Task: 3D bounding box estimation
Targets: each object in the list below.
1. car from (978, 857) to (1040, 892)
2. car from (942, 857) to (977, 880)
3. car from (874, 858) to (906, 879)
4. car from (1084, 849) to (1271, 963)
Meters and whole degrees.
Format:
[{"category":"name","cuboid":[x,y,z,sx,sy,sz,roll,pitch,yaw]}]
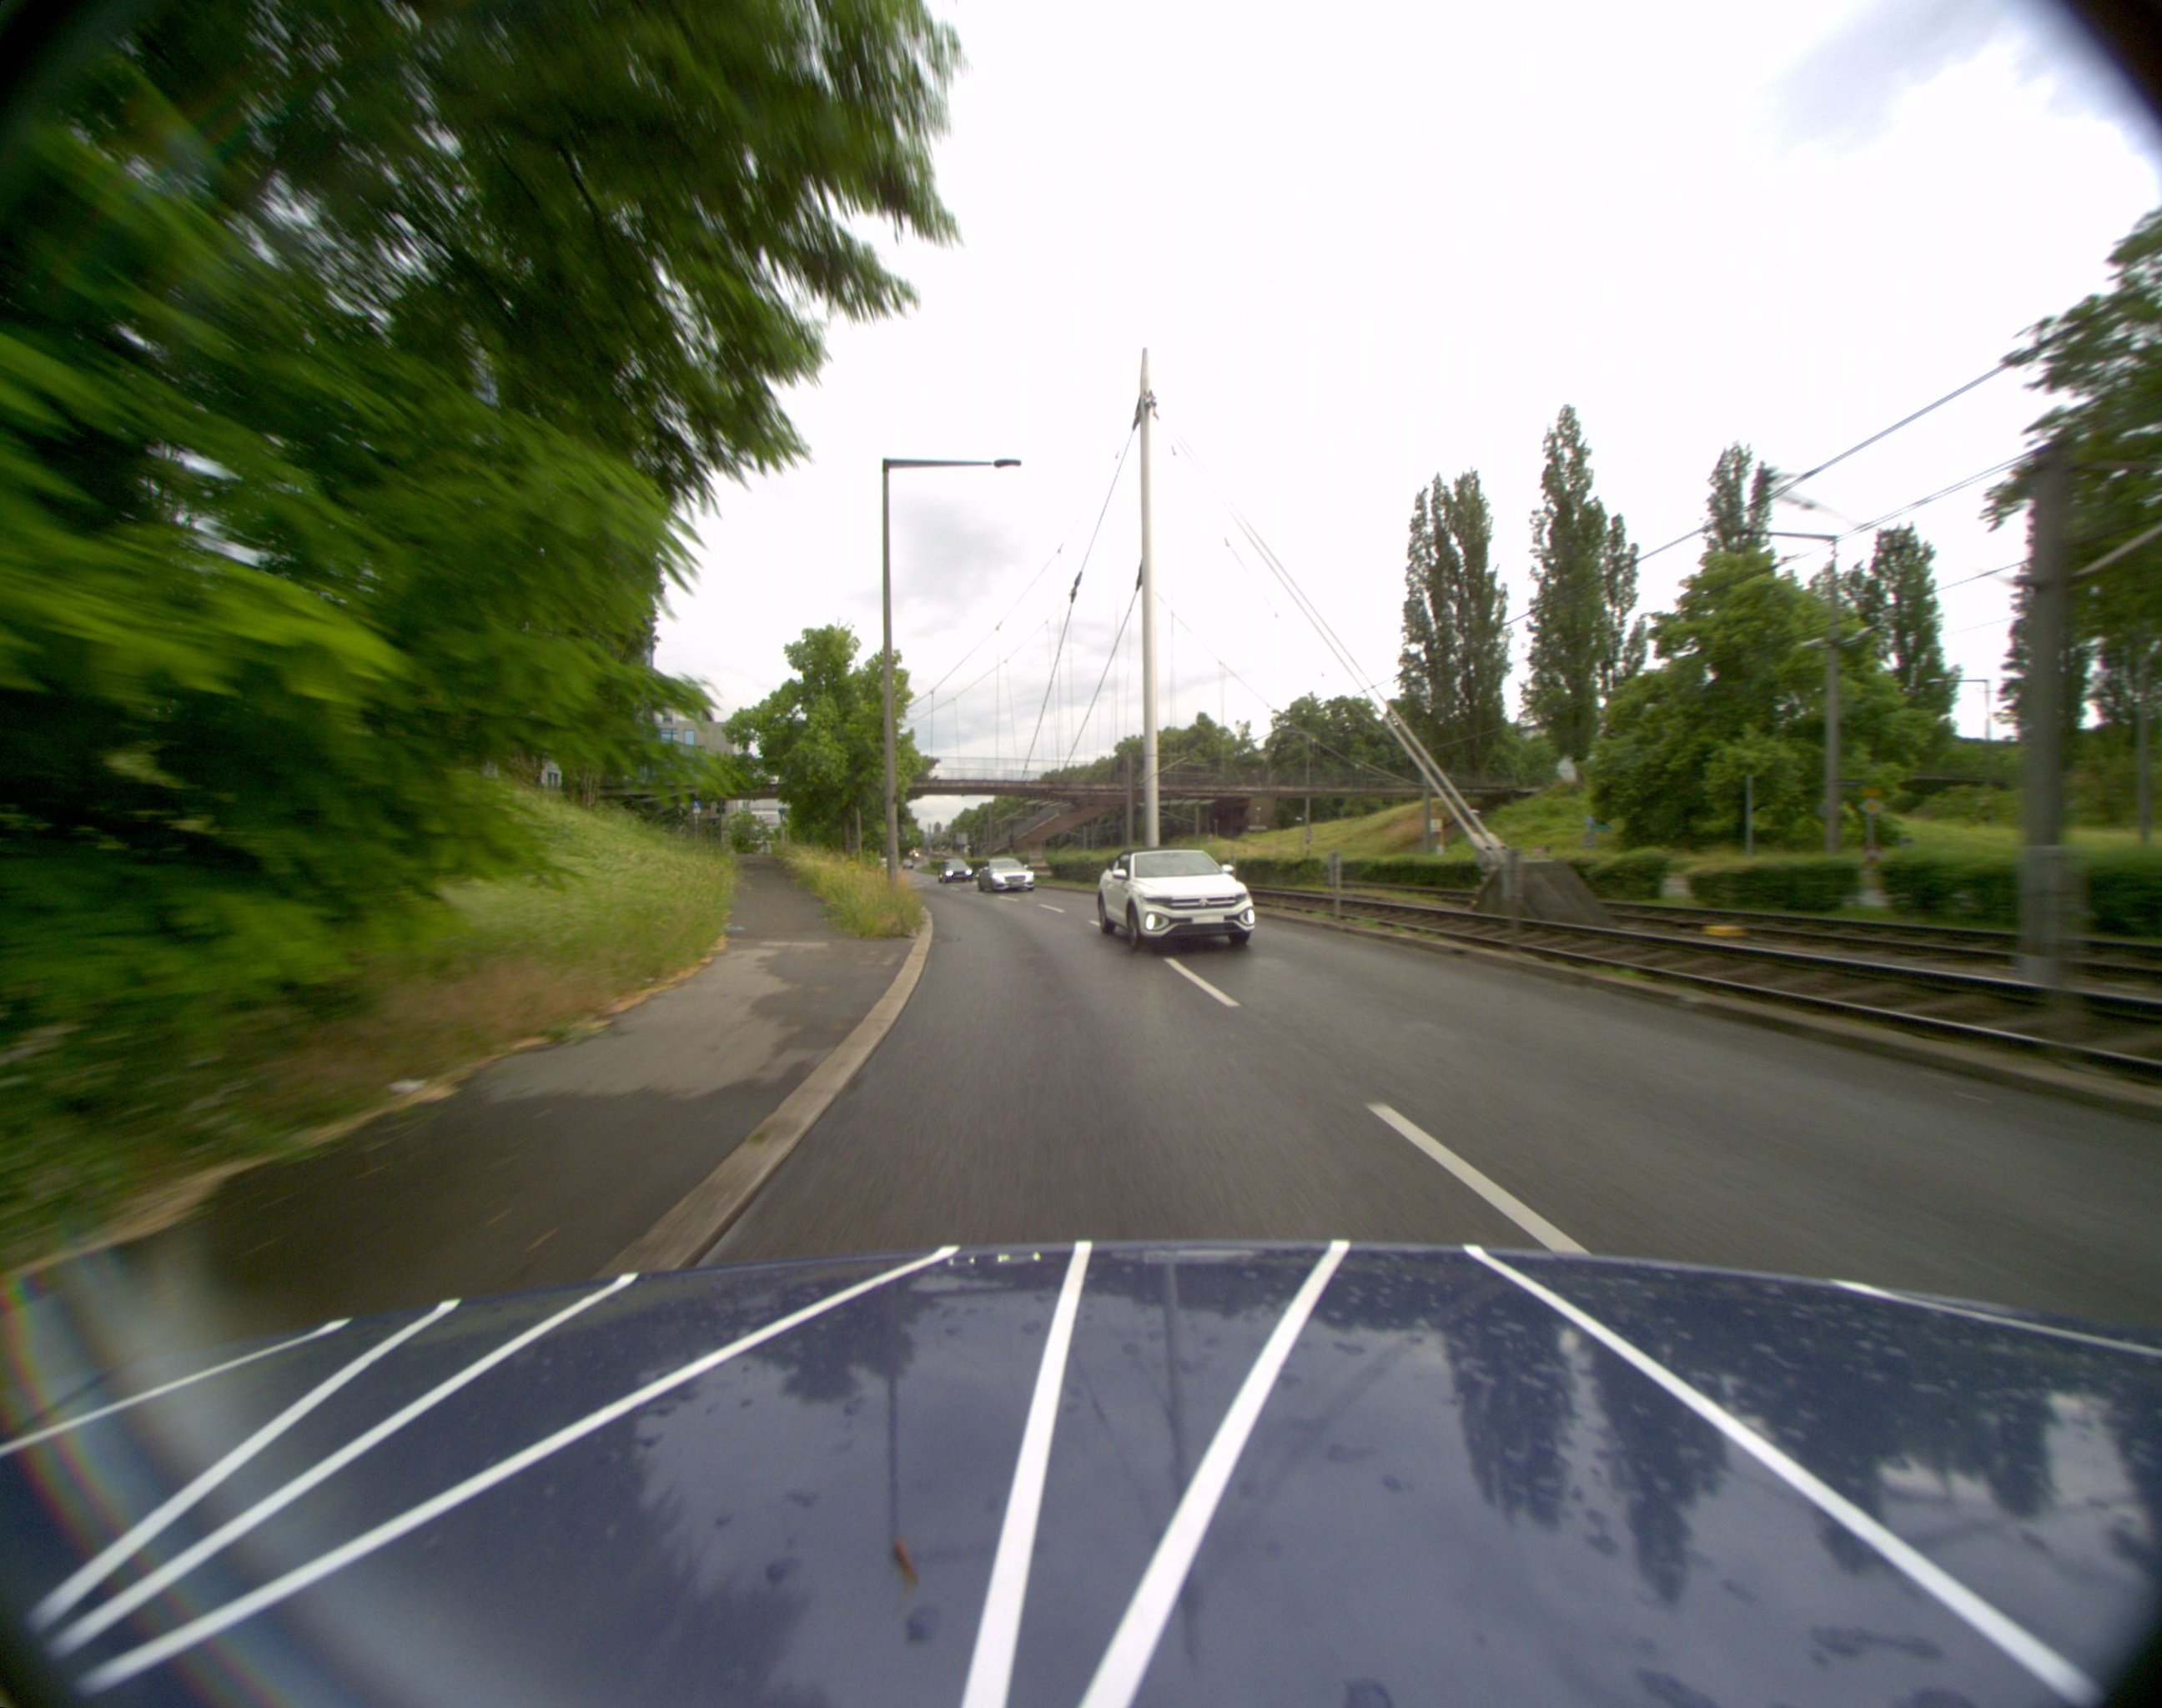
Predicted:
[{"category":"car","cuboid":[-3.211,0.865,33.297,1.874,1.348,4.054,-3,0,-17]},{"category":"car","cuboid":[-7.754,0.885,48.293,1.738,1.344,3.994,-2,1,-16]},{"category":"car","cuboid":[-15.211,1.123,60.379,1.771,1.493,3.991,-2,1,-25]},{"category":"car","cuboid":[1.371,0.706,12.831,1.877,1.515,4.536,-2,1,-10]}]
